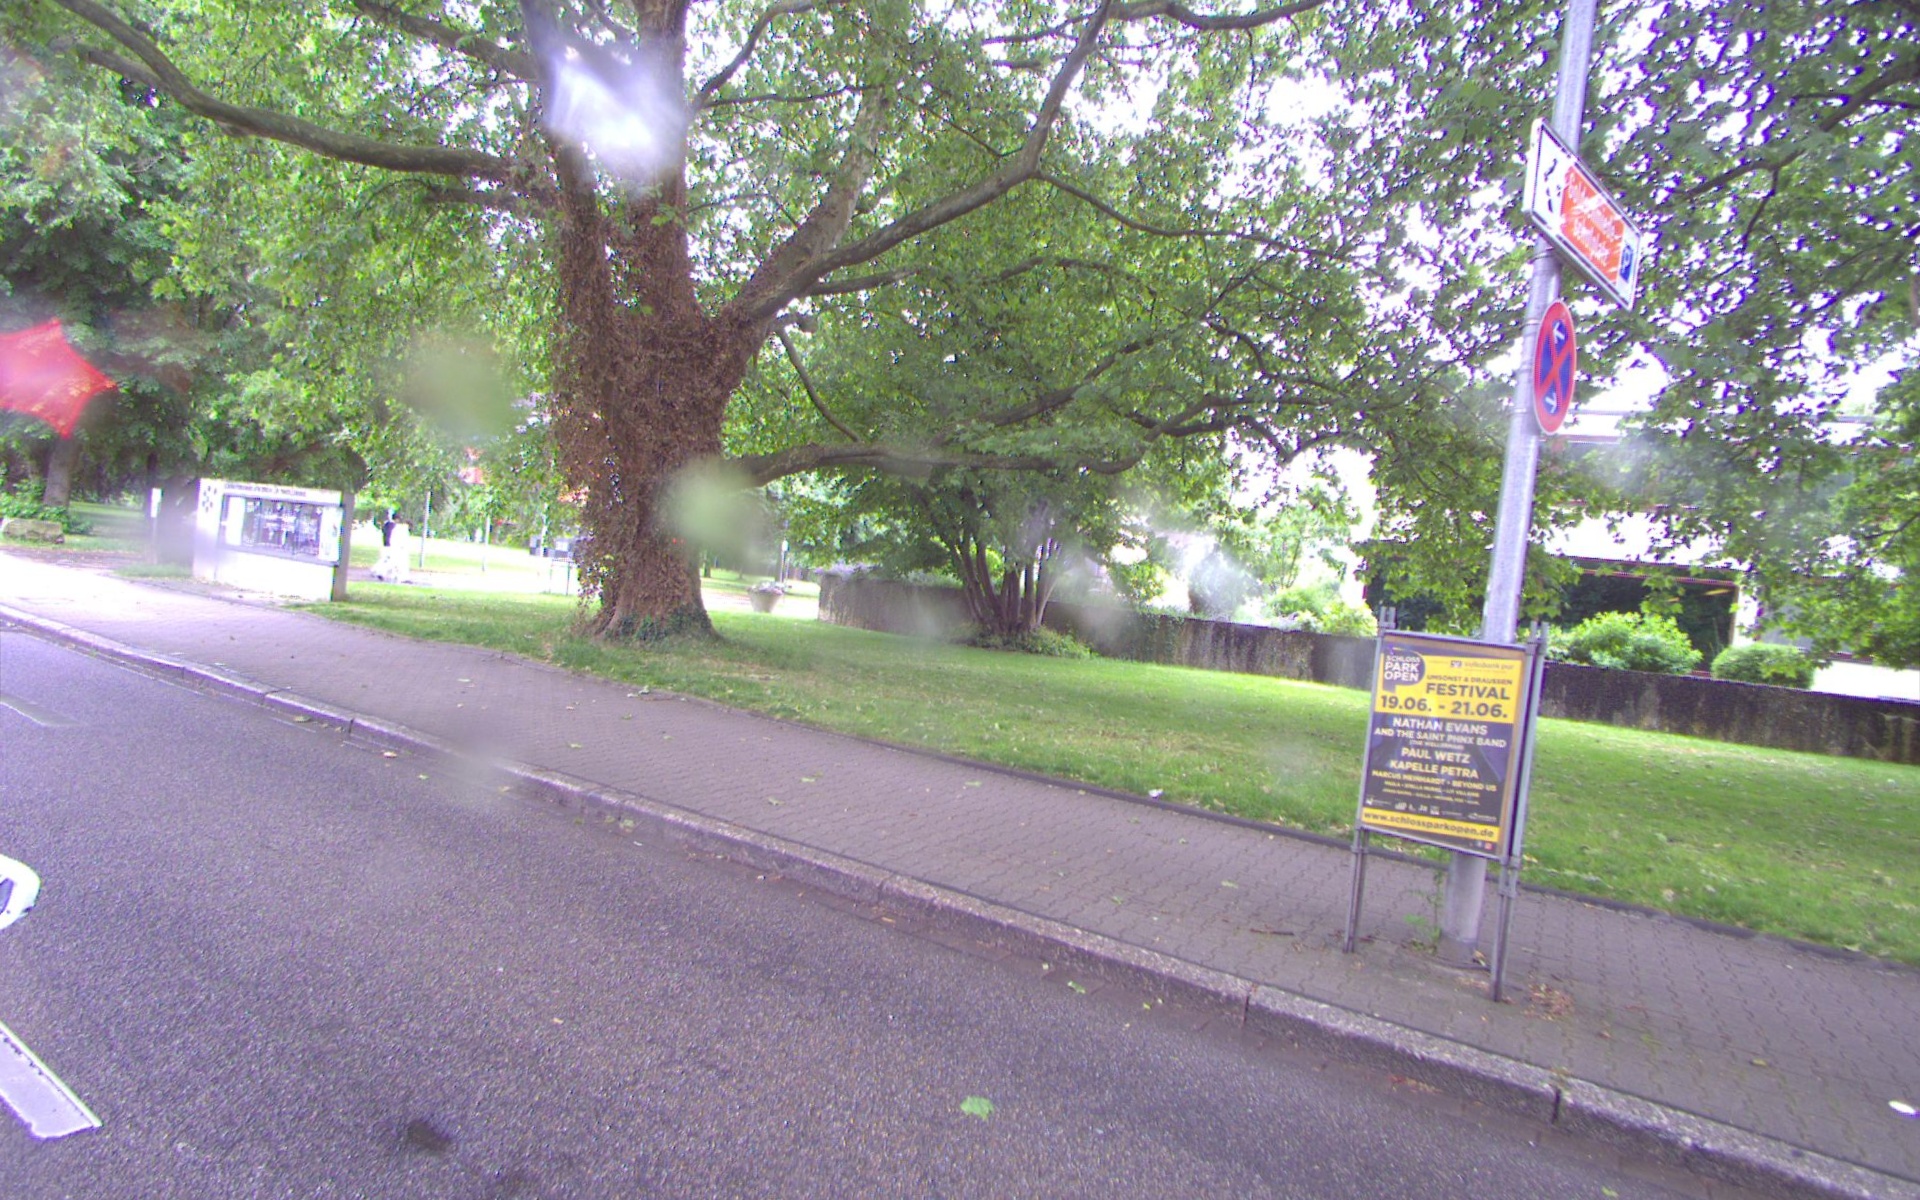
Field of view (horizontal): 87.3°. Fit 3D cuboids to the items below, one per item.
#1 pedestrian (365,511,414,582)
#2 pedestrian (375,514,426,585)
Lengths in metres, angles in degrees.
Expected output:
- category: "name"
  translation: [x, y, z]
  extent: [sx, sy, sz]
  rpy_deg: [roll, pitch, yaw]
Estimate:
- category: "pedestrian"
  translation: [-15.324, -1.442, 27.035]
  extent: [0.711, 1.776, 0.666]
  rpy_deg: [7, -1, 23]
- category: "pedestrian"
  translation: [-14.725, -1.315, 26.474]
  extent: [0.776, 1.732, 0.666]
  rpy_deg: [7, -1, 23]
